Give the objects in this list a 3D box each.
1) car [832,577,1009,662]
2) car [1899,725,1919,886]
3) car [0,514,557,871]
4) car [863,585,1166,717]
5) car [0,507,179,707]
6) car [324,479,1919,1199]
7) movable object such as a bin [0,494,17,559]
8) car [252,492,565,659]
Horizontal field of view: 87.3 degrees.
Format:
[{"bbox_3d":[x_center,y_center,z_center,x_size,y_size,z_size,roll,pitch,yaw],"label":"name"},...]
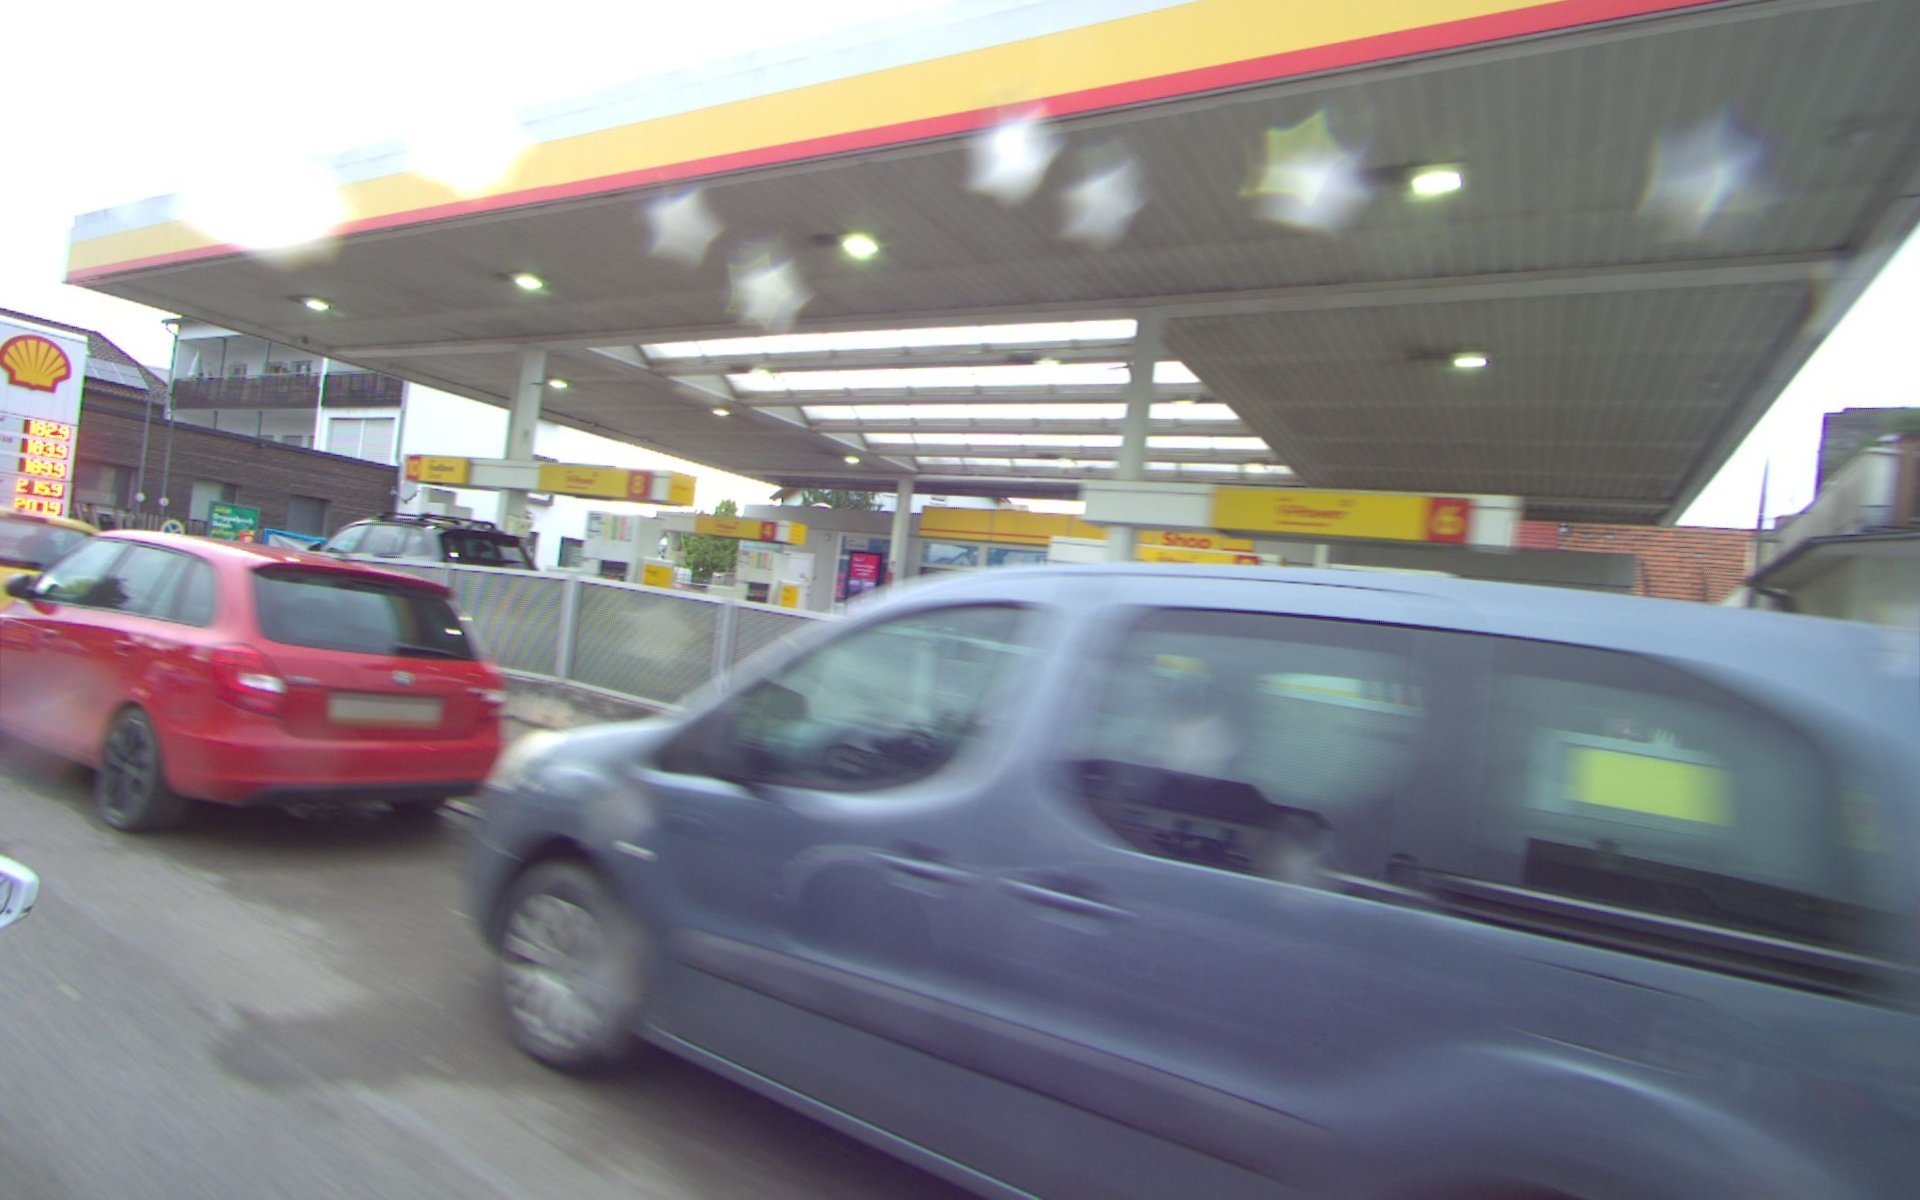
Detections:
[{"bbox_3d":[-0.957,0.465,23.943,3.716,1.483,1.743,7,-1,31],"label":"car"},{"bbox_3d":[11.554,2.302,8.829,1.970,1.660,4.349,8,-1,-15],"label":"car"},{"bbox_3d":[-4.518,0.369,6.118,3.957,1.393,1.659,7,-1,31],"label":"car"},{"bbox_3d":[0.833,0.808,16.633,4.594,1.483,1.743,7,-1,31],"label":"car"},{"bbox_3d":[-8.415,-0.106,8.378,3.737,1.418,1.659,7,-1,31],"label":"car"},{"bbox_3d":[0.123,0.759,3.220,4.370,1.757,1.661,7,-3,31],"label":"car"},{"bbox_3d":[-21.236,-1.668,21.507,1.361,1.356,1.104,7,0,29],"label":"movable object such as a bin"},{"bbox_3d":[-7.654,-0.348,13.929,3.931,1.781,1.823,7,-1,28],"label":"car"}]
